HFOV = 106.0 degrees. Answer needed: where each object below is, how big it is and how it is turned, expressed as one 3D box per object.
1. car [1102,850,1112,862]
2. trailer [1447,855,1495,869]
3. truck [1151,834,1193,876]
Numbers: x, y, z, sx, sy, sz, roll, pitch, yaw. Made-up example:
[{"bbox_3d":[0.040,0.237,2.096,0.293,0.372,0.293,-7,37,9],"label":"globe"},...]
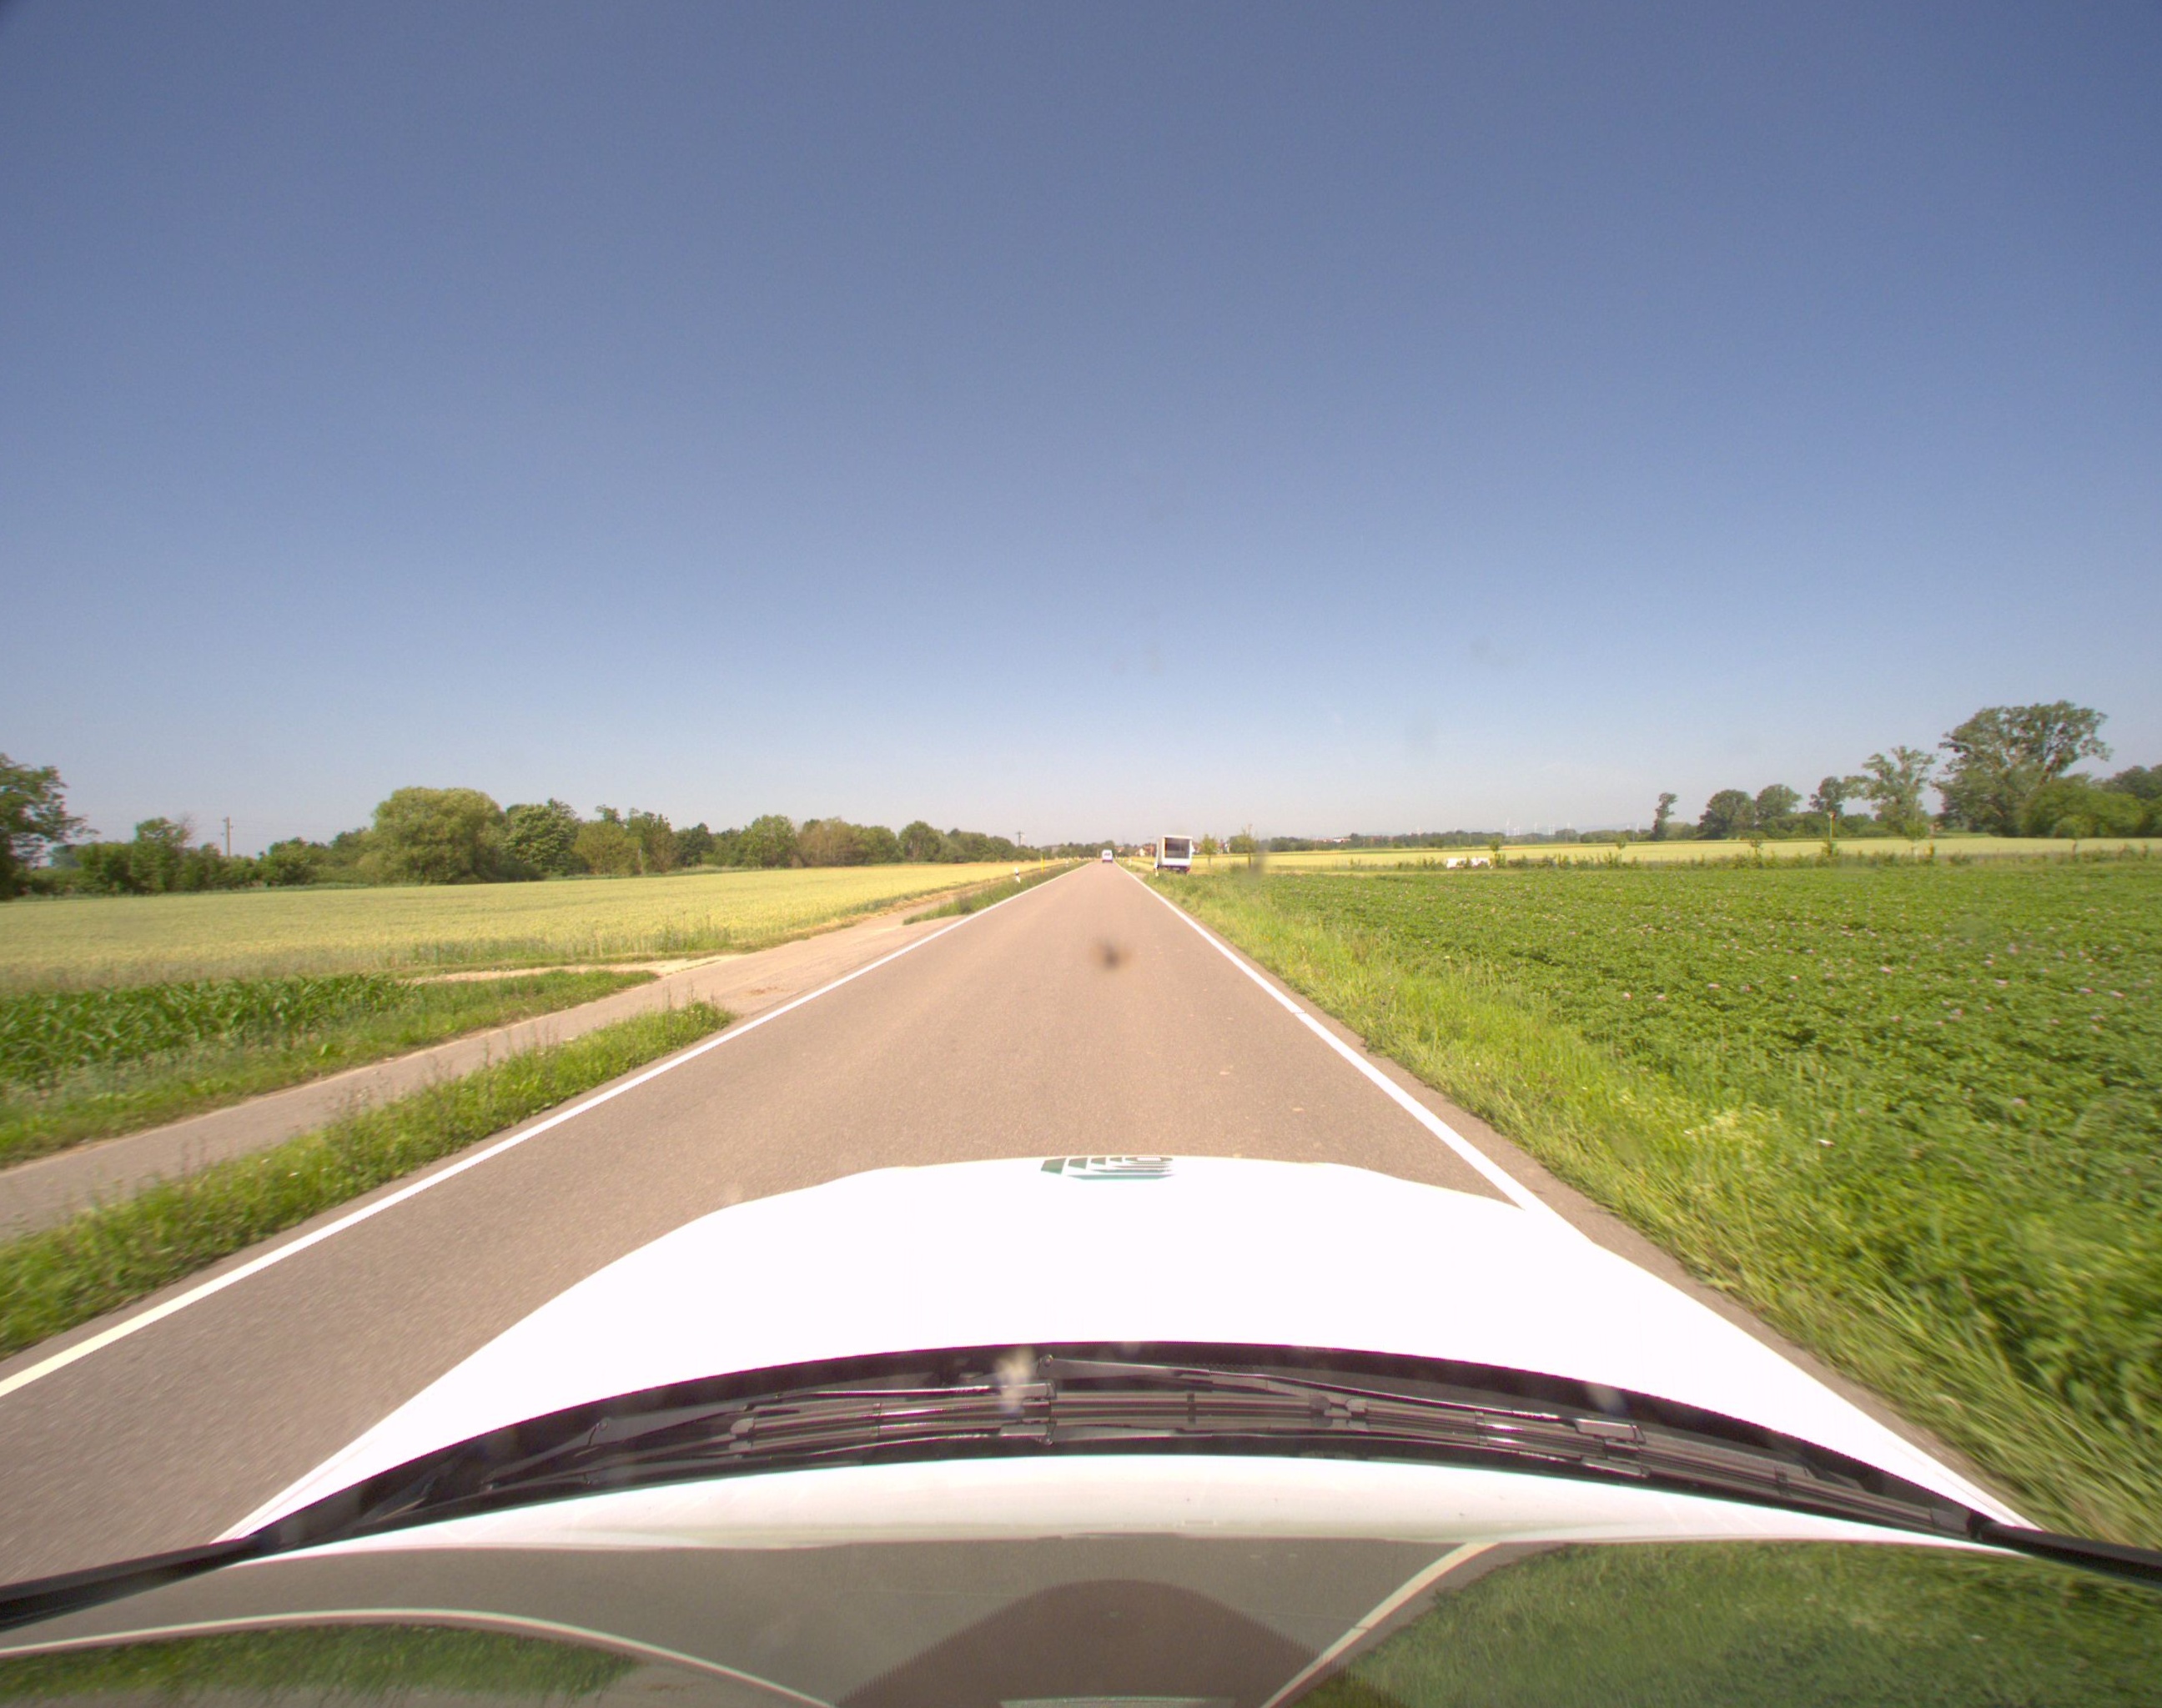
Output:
[{"bbox_3d":[5.224,0.382,164.272,2.099,2.304,5.497,0,0,2],"label":"car"},{"bbox_3d":[34.271,0.686,71.716,3.560,1.189,1.669,0,0,13],"label":"trailer"},{"bbox_3d":[6.818,0.063,61.681,2.328,2.942,7.007,2,0,0],"label":"truck"}]
